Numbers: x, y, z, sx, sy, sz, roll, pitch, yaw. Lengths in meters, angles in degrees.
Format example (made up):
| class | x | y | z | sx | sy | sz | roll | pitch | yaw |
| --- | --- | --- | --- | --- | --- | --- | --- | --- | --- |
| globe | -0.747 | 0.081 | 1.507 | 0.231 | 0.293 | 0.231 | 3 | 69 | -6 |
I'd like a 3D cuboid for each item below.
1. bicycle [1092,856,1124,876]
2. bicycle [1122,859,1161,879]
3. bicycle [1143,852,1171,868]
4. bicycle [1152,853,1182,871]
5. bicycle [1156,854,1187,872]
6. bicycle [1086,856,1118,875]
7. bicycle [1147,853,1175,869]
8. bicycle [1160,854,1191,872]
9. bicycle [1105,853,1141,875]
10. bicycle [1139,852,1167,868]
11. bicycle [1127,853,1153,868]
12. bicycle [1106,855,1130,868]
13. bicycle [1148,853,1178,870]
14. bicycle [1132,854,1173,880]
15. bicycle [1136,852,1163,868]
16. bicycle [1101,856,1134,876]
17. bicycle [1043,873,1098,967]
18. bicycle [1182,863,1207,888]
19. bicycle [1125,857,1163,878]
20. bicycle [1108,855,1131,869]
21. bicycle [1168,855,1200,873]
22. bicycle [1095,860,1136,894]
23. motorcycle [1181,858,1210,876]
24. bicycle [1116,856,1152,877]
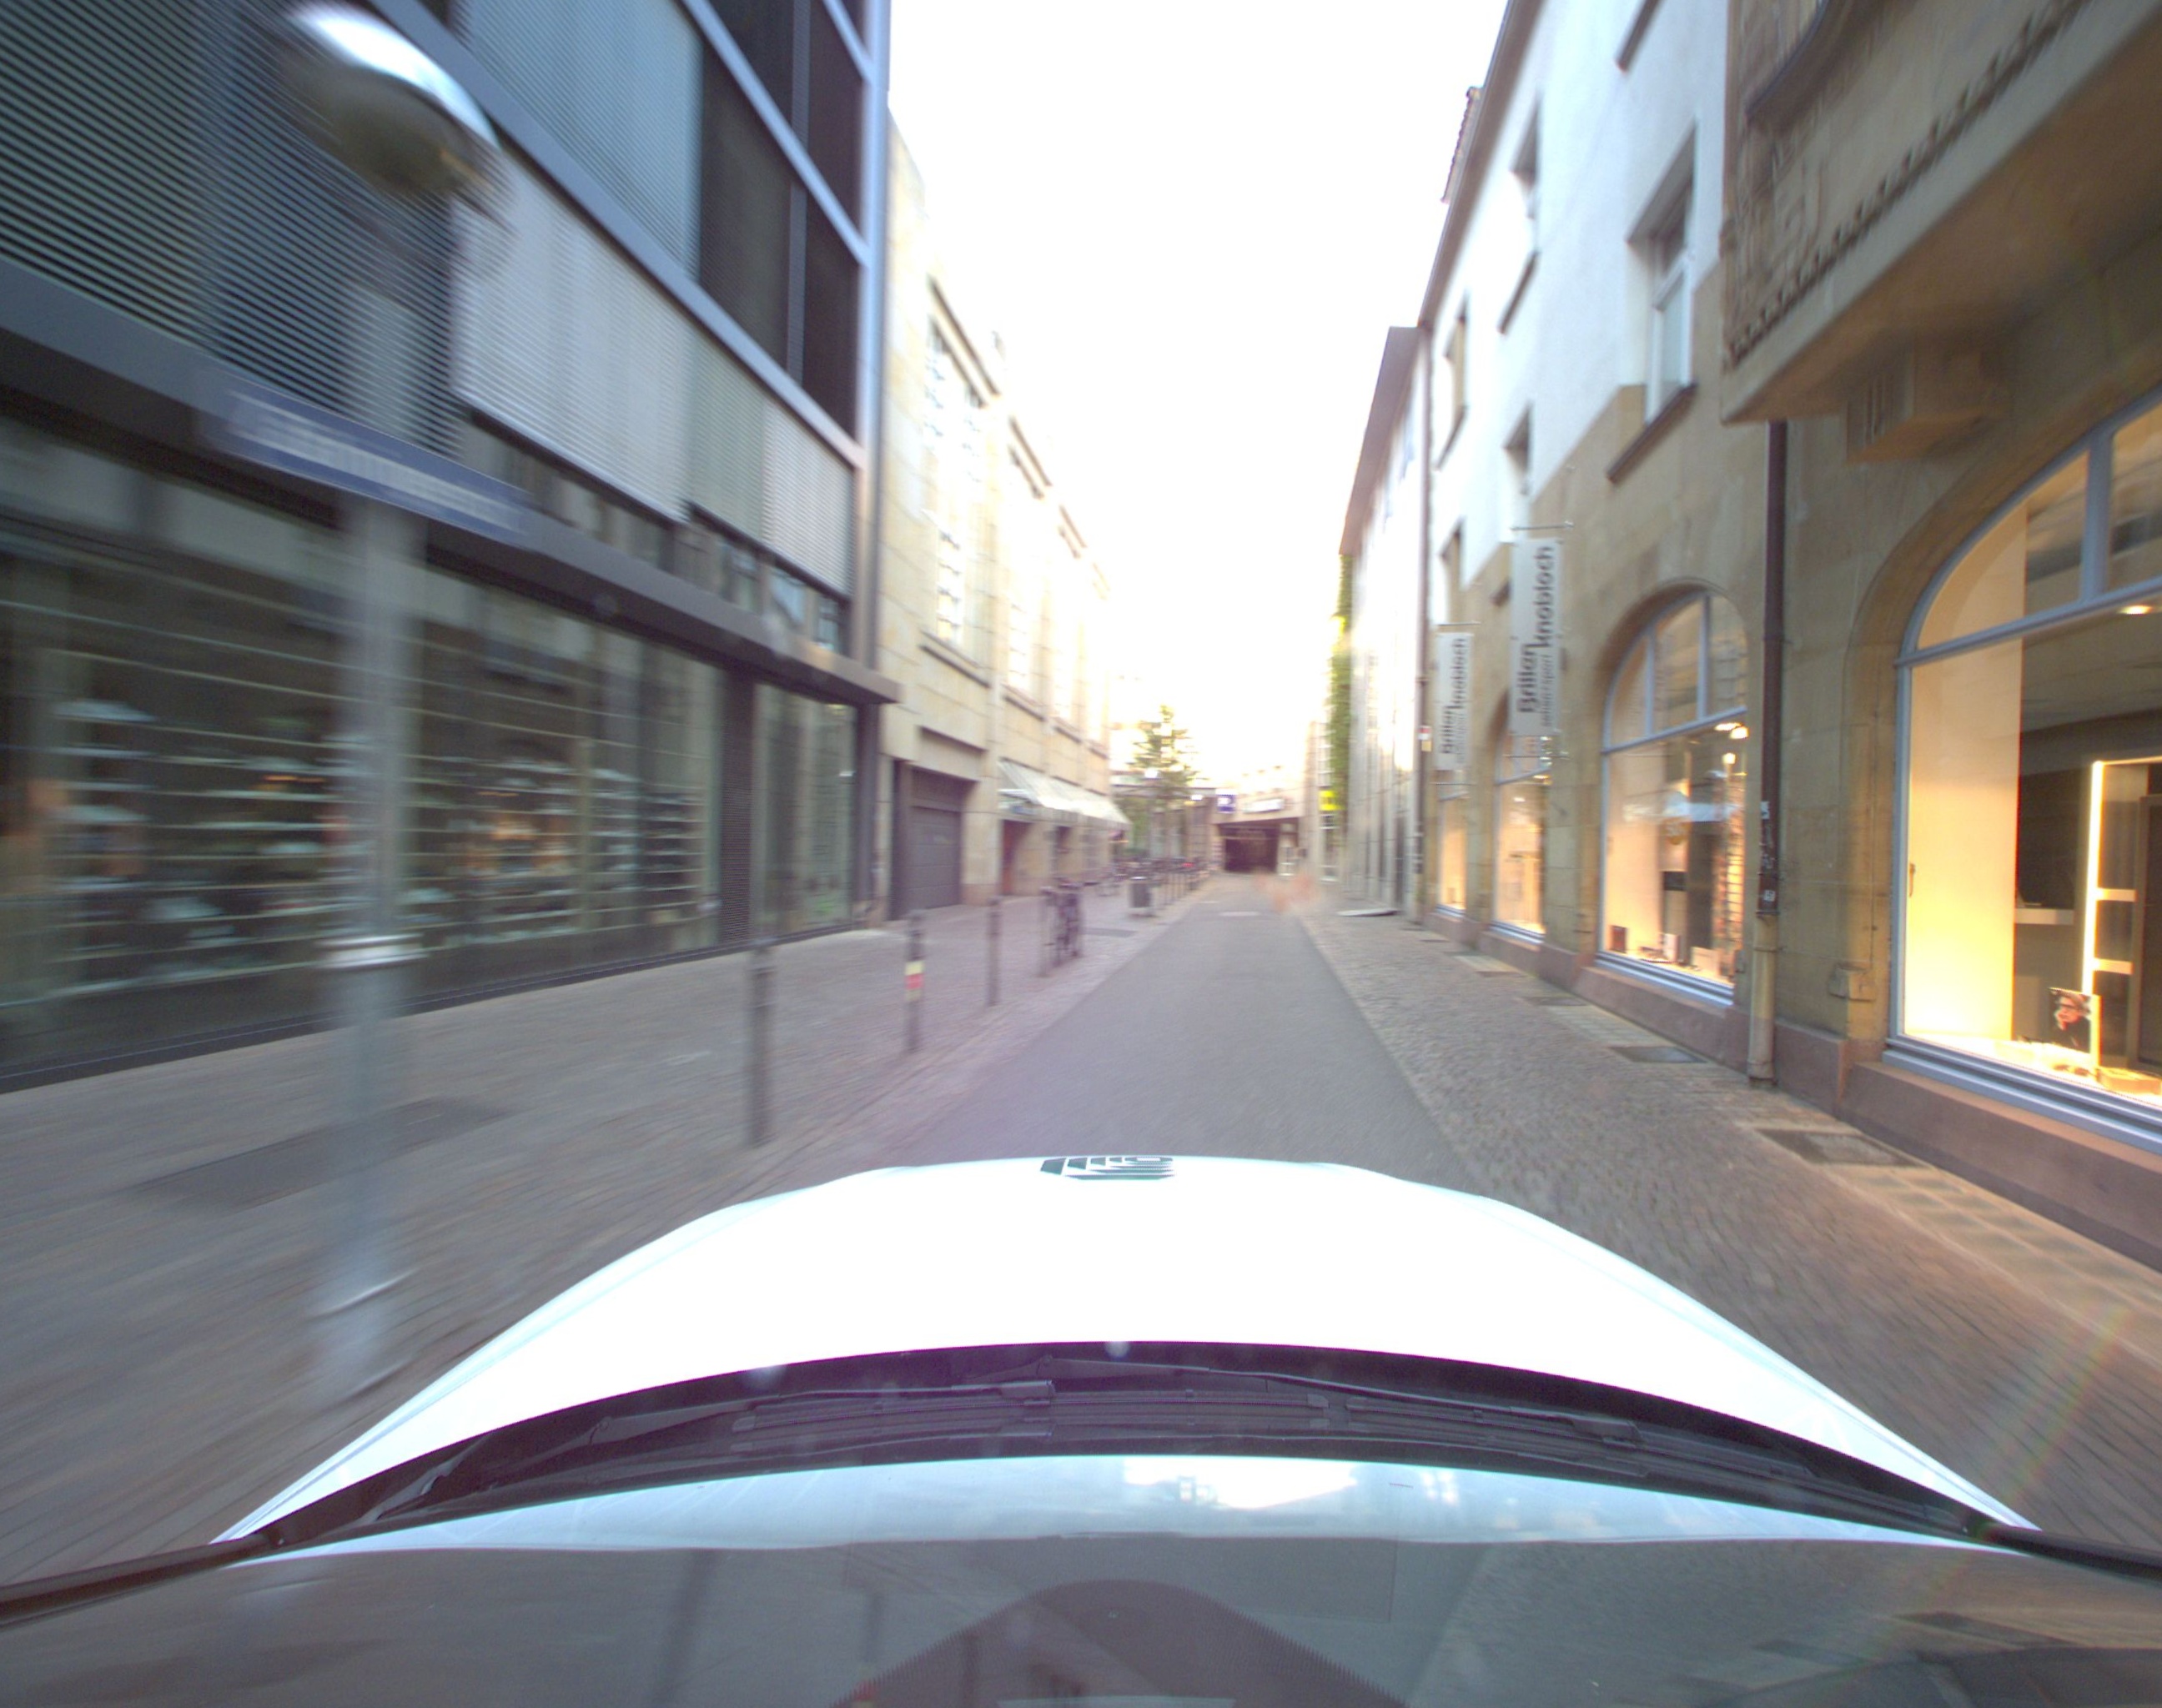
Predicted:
| class | x | y | z | sx | sy | sz | roll | pitch | yaw |
| --- | --- | --- | --- | --- | --- | --- | --- | --- | --- |
| bicycle | 1.654 | 0.754 | 50.187 | 1.910 | 1.182 | 0.695 | 1 | 0 | -5 |
| bicycle | 3.148 | 0.770 | 42.263 | 1.912 | 0.994 | 0.694 | 1 | 0 | -8 |
| bicycle | 5.657 | 0.453 | 60.855 | 1.992 | 1.182 | 0.692 | -1 | 0 | -8 |
| bicycle | 6.051 | 0.563 | 57.370 | 1.992 | 1.182 | 0.800 | -1 | 0 | -8 |
| bicycle | 6.252 | 0.591 | 56.167 | 1.992 | 1.182 | 0.800 | -1 | 0 | -8 |
| bicycle | 1.322 | 0.739 | 51.322 | 1.910 | 1.182 | 0.695 | 1 | 0 | -5 |
| bicycle | 5.887 | 0.499 | 59.904 | 1.992 | 1.182 | 0.692 | -1 | 0 | -8 |
| bicycle | 6.396 | 0.588 | 55.235 | 1.992 | 1.182 | 0.694 | -1 | 0 | -8 |
| bicycle | 2.325 | 0.549 | 45.511 | 1.910 | 1.182 | 0.695 | 1 | 0 | -5 |
| bicycle | 5.507 | 0.431 | 62.152 | 1.992 | 1.182 | 0.692 | -1 | 0 | -8 |
| bicycle | 4.772 | 0.514 | 65.820 | 1.992 | 1.182 | 0.692 | -1 | 0 | -8 |
| bicycle | 3.294 | 0.674 | 72.755 | 1.992 | 1.182 | 0.692 | -1 | 0 | -8 |
| bicycle | 5.931 | 0.557 | 58.884 | 1.992 | 1.182 | 0.800 | -1 | 0 | -8 |
| bicycle | 3.572 | 0.631 | 40.729 | 1.912 | 1.261 | 0.806 | 1 | 0 | -8 |
| bicycle | 5.301 | 0.478 | 63.295 | 1.992 | 1.182 | 0.692 | -1 | 0 | -8 |
| bicycle | 2.194 | 0.708 | 49.320 | 1.910 | 1.182 | 0.695 | 1 | 0 | -5 |
| bicycle | -0.114 | 0.853 | 11.300 | 0.408 | 1.132 | 1.936 | 1 | 0 | 9 |
| bicycle | 4.775 | 0.889 | 34.053 | 0.500 | 0.966 | 1.705 | 0 | 0 | 27 |
| bicycle | 3.345 | 0.725 | 43.164 | 1.912 | 1.101 | 0.694 | 1 | 0 | -8 |
| bicycle | 3.391 | 0.692 | 71.905 | 1.992 | 1.182 | 0.692 | -1 | 0 | -8 |
| bicycle | 6.844 | 0.651 | 54.247 | 1.992 | 1.182 | 0.694 | -1 | 0 | -8 |
| bicycle | 1.194 | 0.762 | 27.648 | 0.687 | 1.112 | 1.787 | 1 | 0 | 27 |
| motorcycle | 7.386 | 0.833 | 52.424 | 1.743 | 1.155 | 0.593 | -1 | 0 | -5 |
| bicycle | 2.881 | 0.662 | 44.474 | 1.910 | 1.101 | 0.695 | 1 | 0 | -5 |
